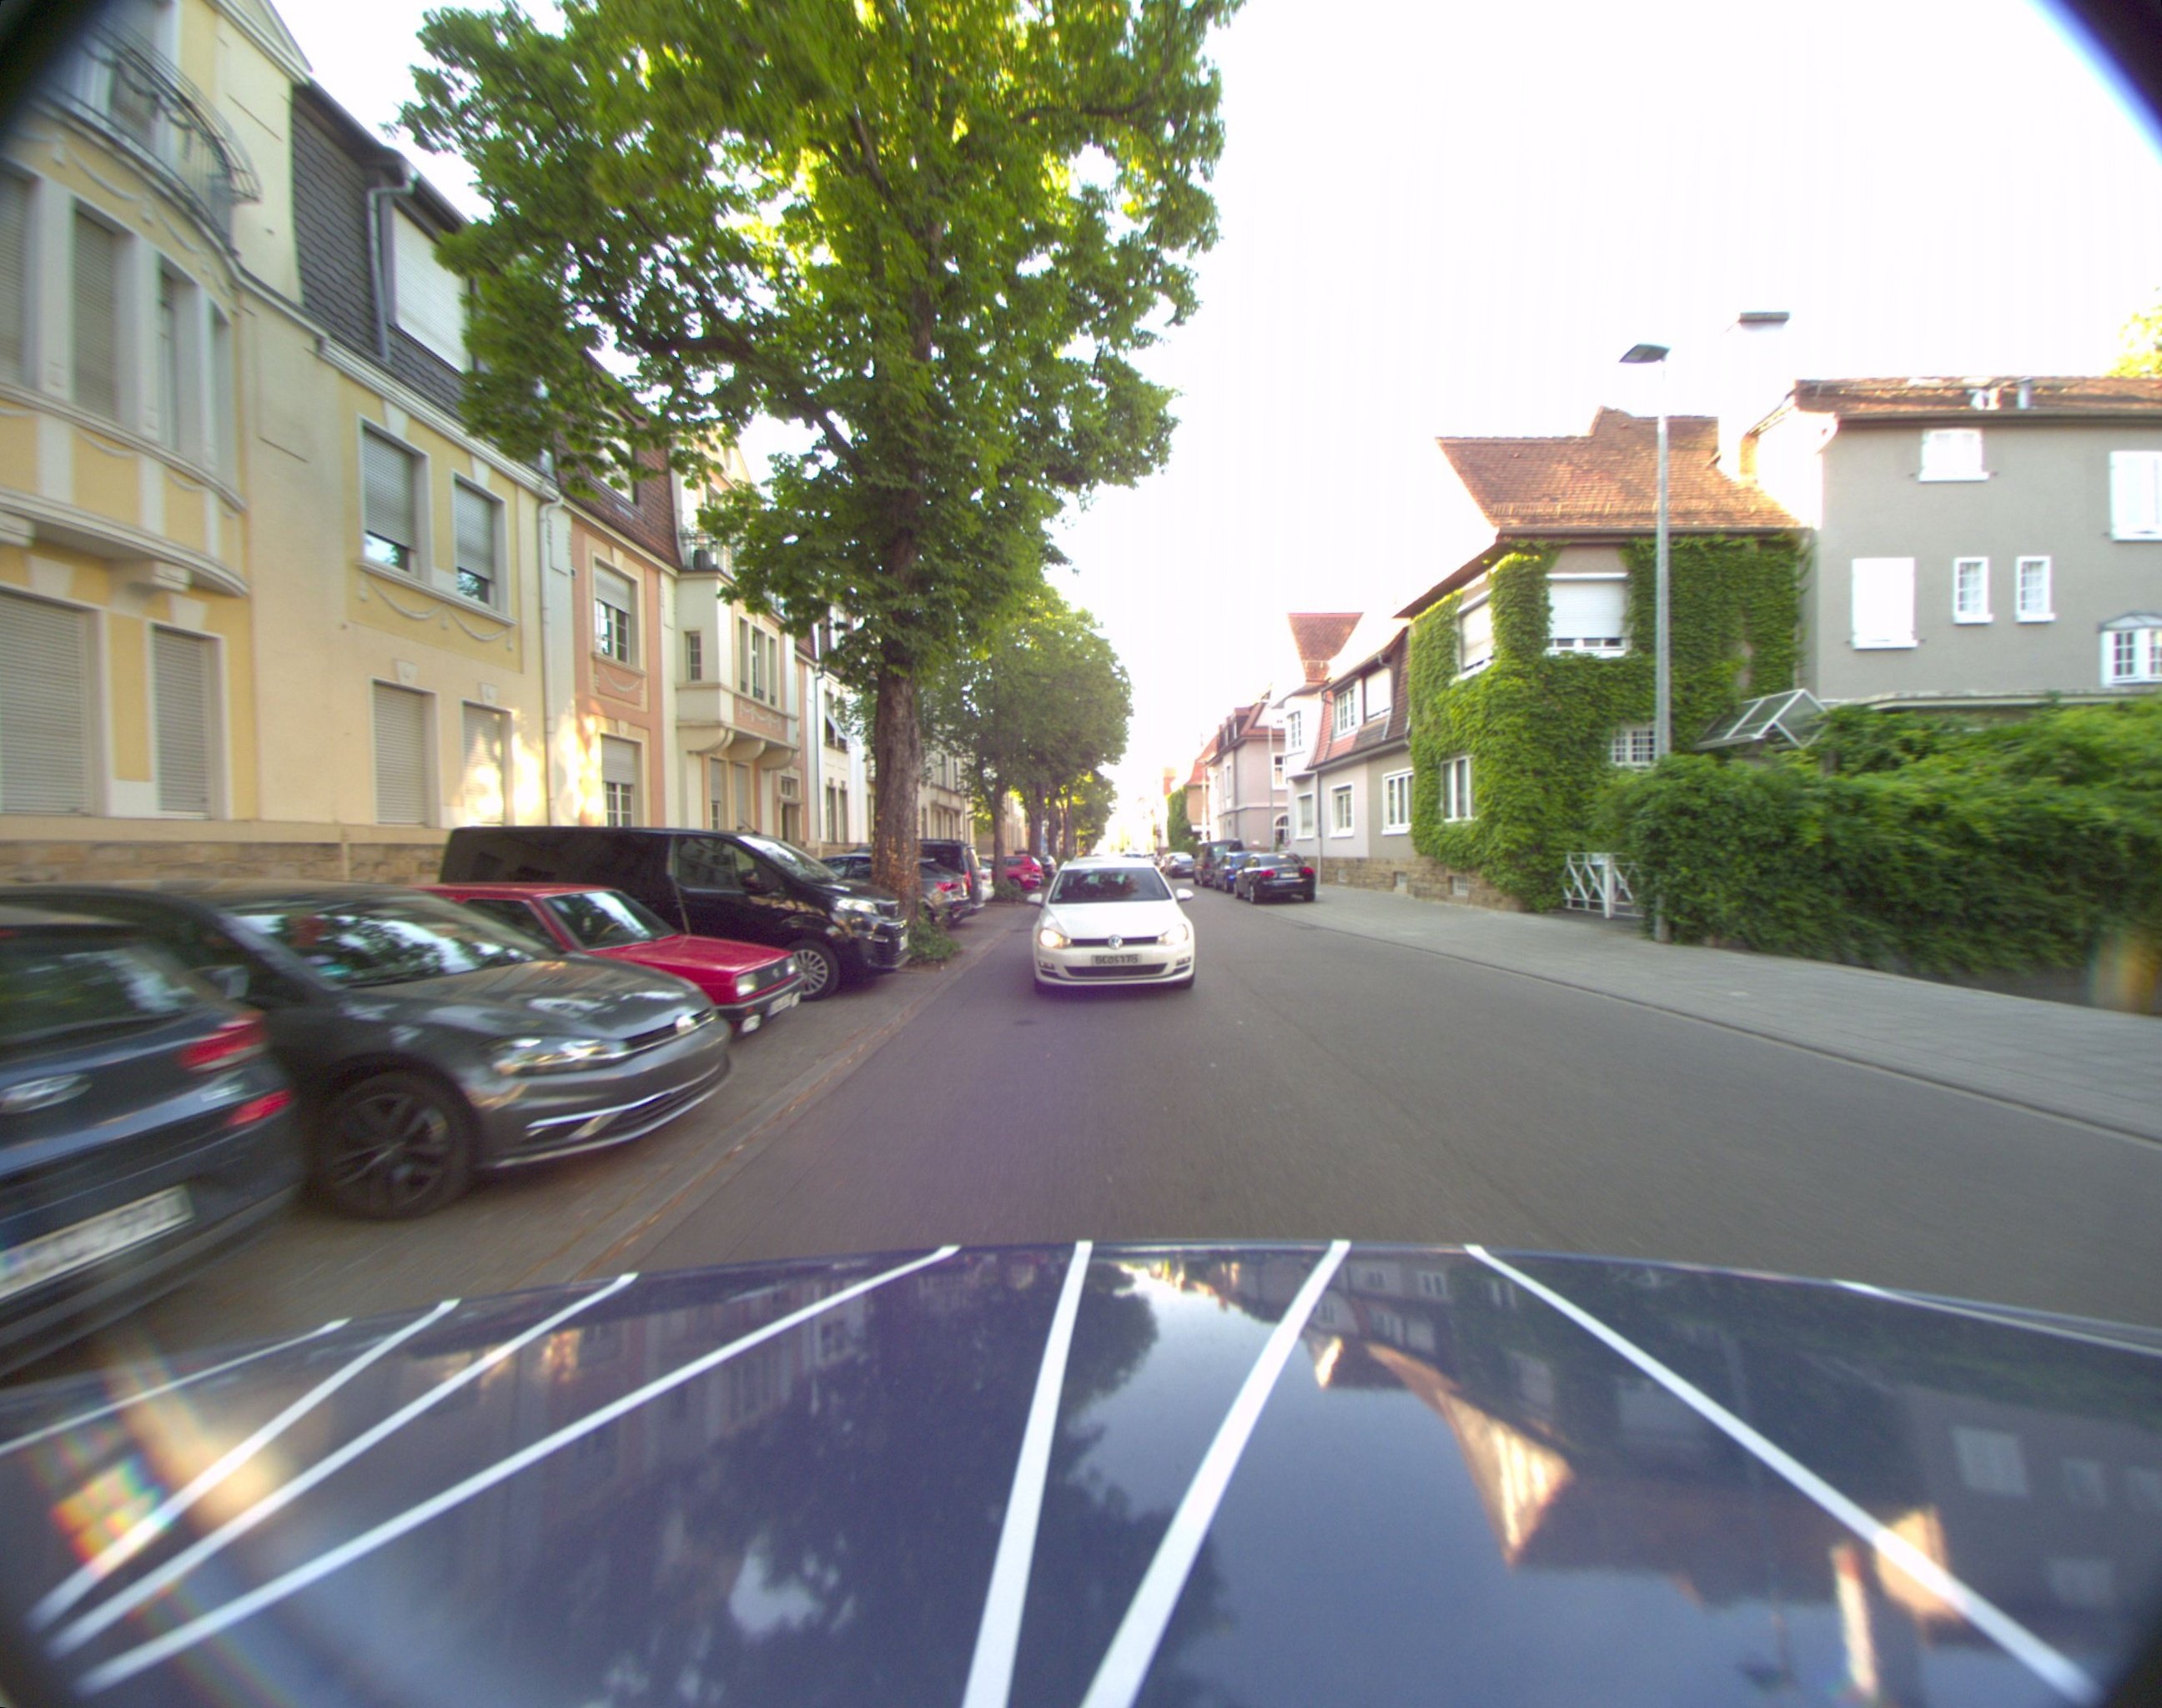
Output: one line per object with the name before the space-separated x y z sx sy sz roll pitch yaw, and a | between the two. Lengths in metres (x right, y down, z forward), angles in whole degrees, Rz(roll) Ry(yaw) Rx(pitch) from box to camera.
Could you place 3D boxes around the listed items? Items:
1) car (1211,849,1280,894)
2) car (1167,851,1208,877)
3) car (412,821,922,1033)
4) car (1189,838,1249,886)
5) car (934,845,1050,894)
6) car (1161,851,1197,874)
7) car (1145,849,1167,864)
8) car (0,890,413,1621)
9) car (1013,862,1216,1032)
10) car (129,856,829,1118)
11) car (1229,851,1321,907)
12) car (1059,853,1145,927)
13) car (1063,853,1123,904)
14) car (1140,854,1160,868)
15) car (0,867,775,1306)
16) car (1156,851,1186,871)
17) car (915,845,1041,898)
car | 5.974 0.597 28.024 1.692 1.445 4.000 -3 0 1
car | 6.248 0.547 44.853 1.821 1.419 4.288 -3 0 1
car | -4.454 0.743 8.813 4.709 2.002 2.000 -2 1 -1
car | 5.943 0.313 33.191 1.821 1.895 4.288 -3 0 1
car | -3.777 0.630 32.898 4.709 1.863 2.000 -2 1 -1
car | 6.440 0.532 50.472 1.821 1.419 4.288 -3 0 1
car | 7.522 0.257 76.459 1.821 1.419 4.288 -3 0 1
car | -4.618 1.034 1.804 4.208 1.619 1.973 -2 1 -1
car | 0.346 0.895 9.161 1.843 1.442 4.110 -2 1 1
car | -4.605 0.953 6.417 4.208 1.678 2.000 -2 1 -1
car | 5.603 0.669 22.407 1.692 1.445 4.000 -3 0 1
car | 0.488 0.787 18.621 1.843 1.509 4.022 -2 1 1
car | 0.403 0.770 26.324 1.843 1.509 4.753 -2 1 1
car | 7.608 0.759 83.674 1.821 1.419 4.288 -3 0 1
car | -4.157 0.977 4.002 4.208 1.598 1.999 -2 1 -1
car | 6.930 0.519 58.757 1.821 1.419 4.288 -3 0 1
car | -4.017 0.668 30.250 4.709 1.863 2.000 -2 1 -1
